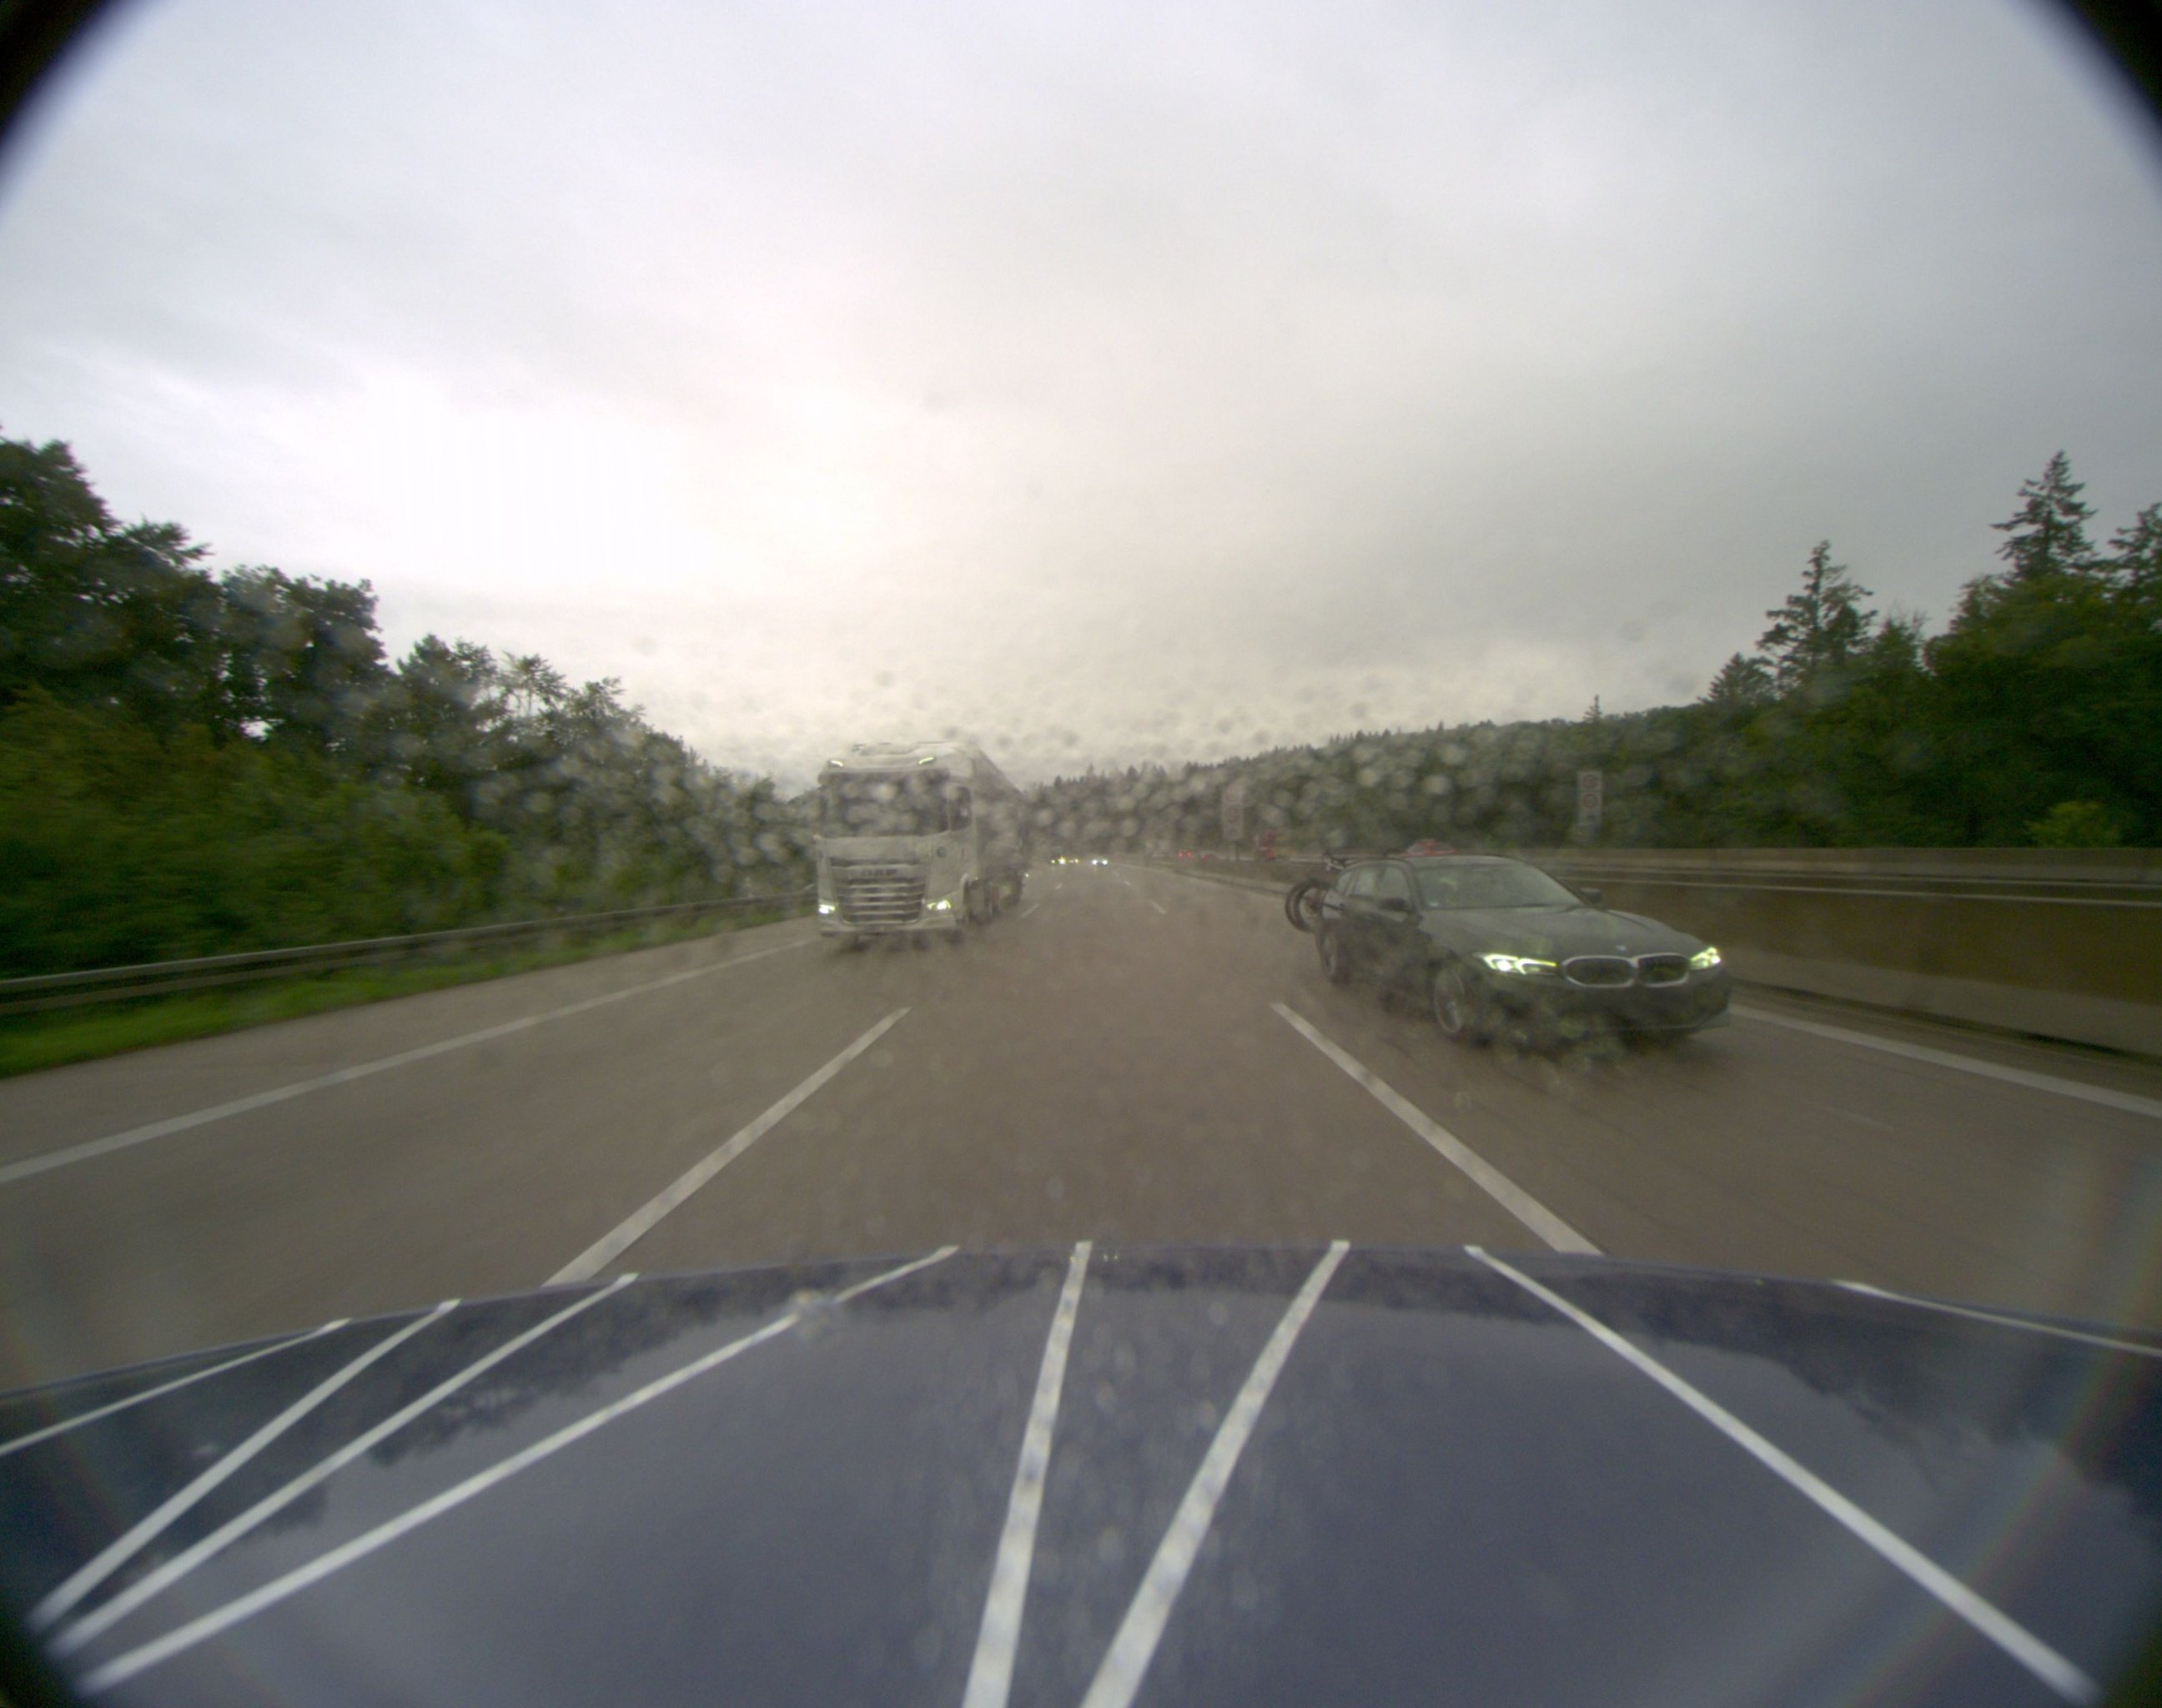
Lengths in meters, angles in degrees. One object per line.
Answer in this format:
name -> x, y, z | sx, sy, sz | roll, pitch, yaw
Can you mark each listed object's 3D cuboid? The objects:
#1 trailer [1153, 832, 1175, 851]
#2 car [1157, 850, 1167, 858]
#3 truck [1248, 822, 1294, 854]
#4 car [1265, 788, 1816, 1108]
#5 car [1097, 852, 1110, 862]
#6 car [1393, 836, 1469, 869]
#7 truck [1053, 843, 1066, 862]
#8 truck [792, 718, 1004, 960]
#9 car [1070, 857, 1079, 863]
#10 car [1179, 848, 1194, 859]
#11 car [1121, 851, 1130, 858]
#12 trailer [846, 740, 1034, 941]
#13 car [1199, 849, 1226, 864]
trailer -> 18.588, -2.697, 170.920 | 2.954, 4.009, 13.786 | -3, 0, 0
car -> 16.211, -0.069, 151.827 | 1.661, 1.512, 3.638 | -3, 0, 1
truck -> 20.235, -1.617, 81.668 | 2.438, 3.156, 10.662 | -2, 0, 1
car -> 3.611, 0.574, 7.806 | 1.912, 1.933, 6.162 | -2, 0, 0
car -> 3.151, 0.465, 108.454 | 1.716, 1.398, 4.936 | -1, 0, 1
car -> 19.418, -0.083, 42.430 | 1.998, 1.689, 4.974 | -2, 0, 1
truck -> -4.820, -0.275, 171.025 | 2.737, 4.127, 8.621 | -2, 0, 0
truck -> -3.405, -0.252, 15.798 | 2.728, 4.017, 5.752 | -2, 0, 1
car -> -1.497, 1.390, 172.699 | 1.717, 1.398, 4.935 | -1, 0, -2
car -> 16.600, -0.055, 119.530 | 1.709, 1.569, 4.268 | -3, 0, 1
car -> 10.685, 0.116, 184.324 | 1.890, 1.539, 4.777 | -3, 0, 1
trailer -> -3.286, -0.294, 22.263 | 2.686, 4.017, 13.704 | -1, 0, 1
car -> 13.766, 0.247, 79.679 | 1.998, 1.382, 4.751 | -3, 0, 1
